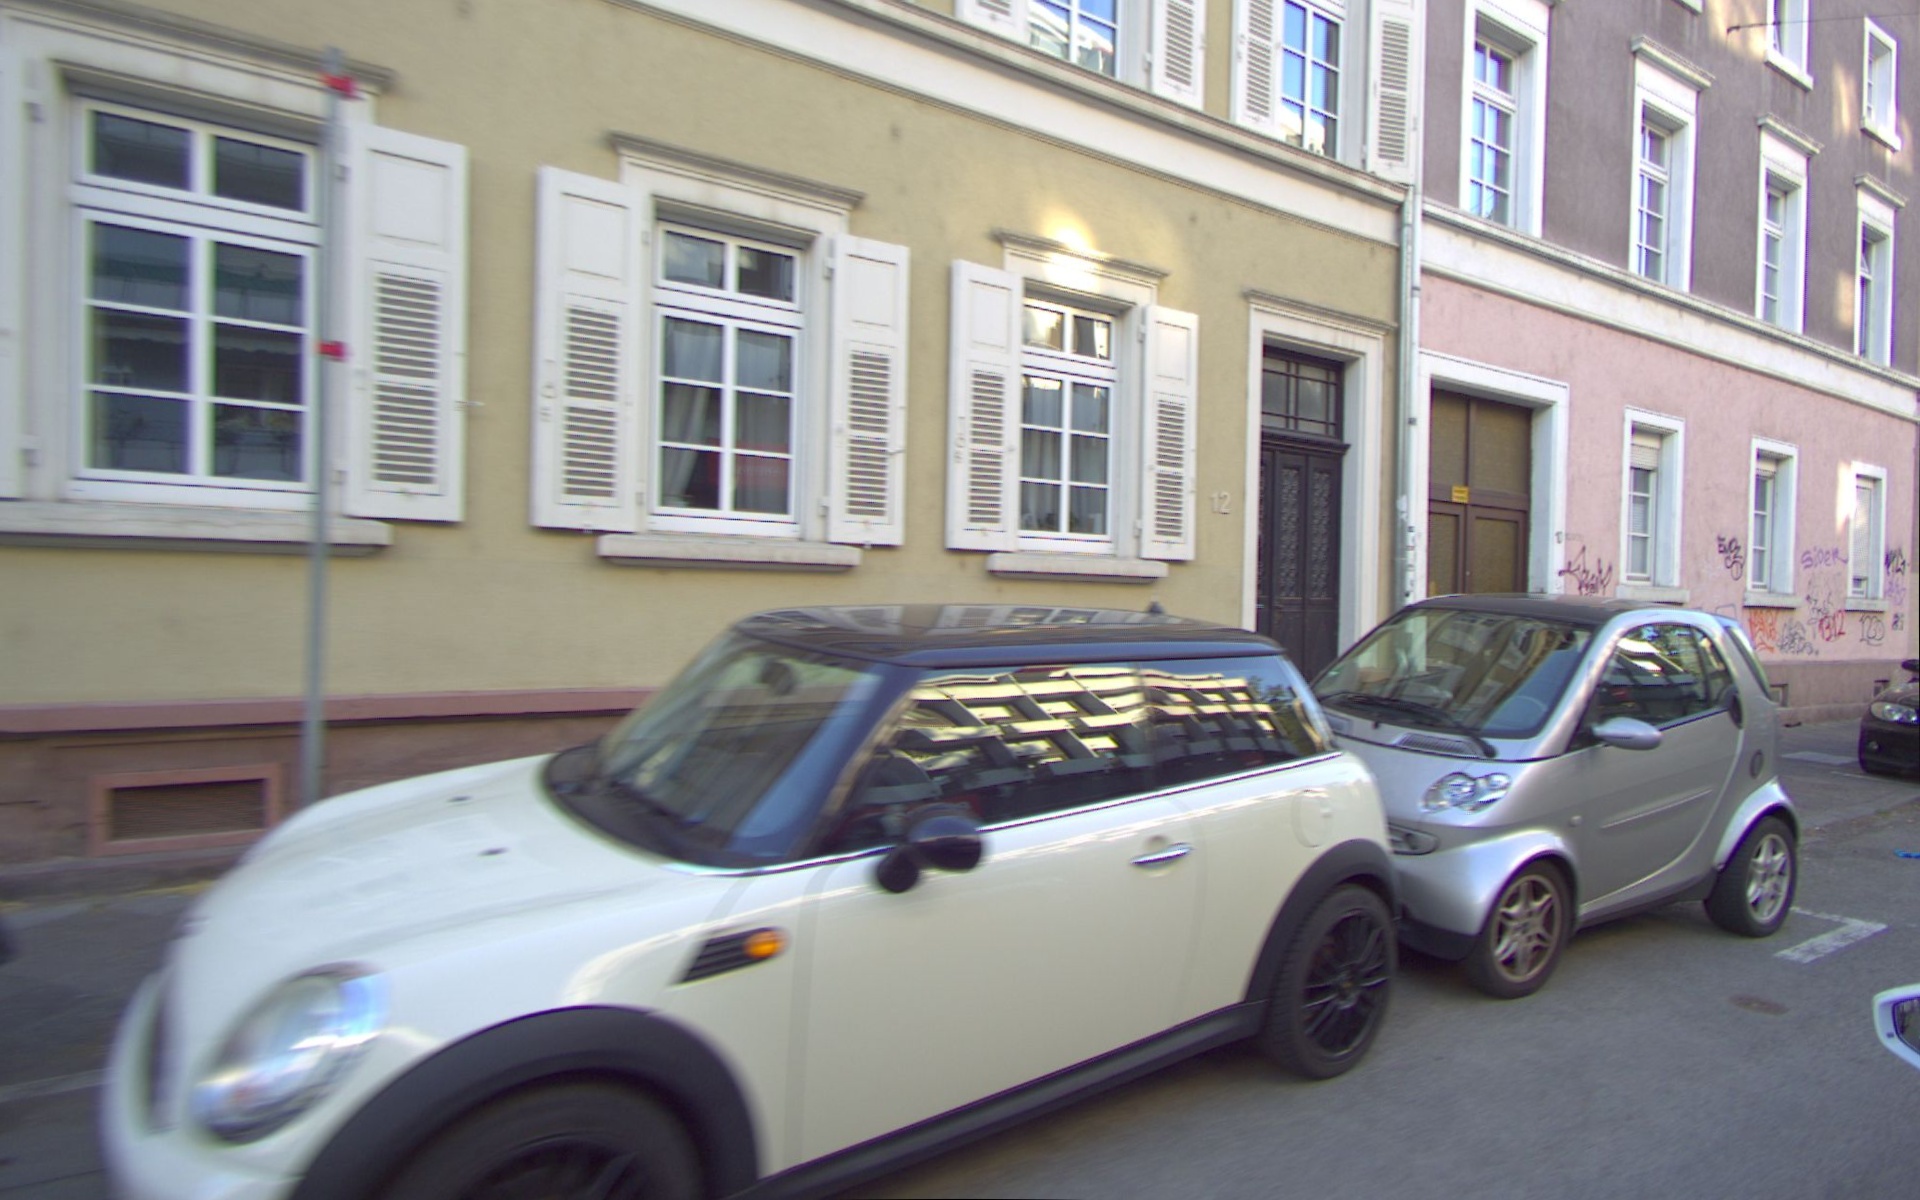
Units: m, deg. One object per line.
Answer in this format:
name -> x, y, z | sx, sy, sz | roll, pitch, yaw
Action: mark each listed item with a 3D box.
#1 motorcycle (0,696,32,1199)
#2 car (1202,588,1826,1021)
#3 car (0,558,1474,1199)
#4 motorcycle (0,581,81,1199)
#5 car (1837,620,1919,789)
motorcycle -> -2.838, 0.812, 1.186 | 2.448, 1.251, 0.706 | 1, 0, -33
car -> 2.696, 0.756, 4.872 | 2.714, 1.552, 1.380 | 1, 1, -28
car -> -0.265, 0.718, 3.090 | 3.817, 1.517, 1.699 | 1, 1, -35
motorcycle -> -3.091, 0.643, 2.062 | 1.829, 1.408, 0.701 | 1, 0, -33
car -> 10.210, 0.953, 9.522 | 4.421, 1.416, 1.777 | 1, 1, -34
